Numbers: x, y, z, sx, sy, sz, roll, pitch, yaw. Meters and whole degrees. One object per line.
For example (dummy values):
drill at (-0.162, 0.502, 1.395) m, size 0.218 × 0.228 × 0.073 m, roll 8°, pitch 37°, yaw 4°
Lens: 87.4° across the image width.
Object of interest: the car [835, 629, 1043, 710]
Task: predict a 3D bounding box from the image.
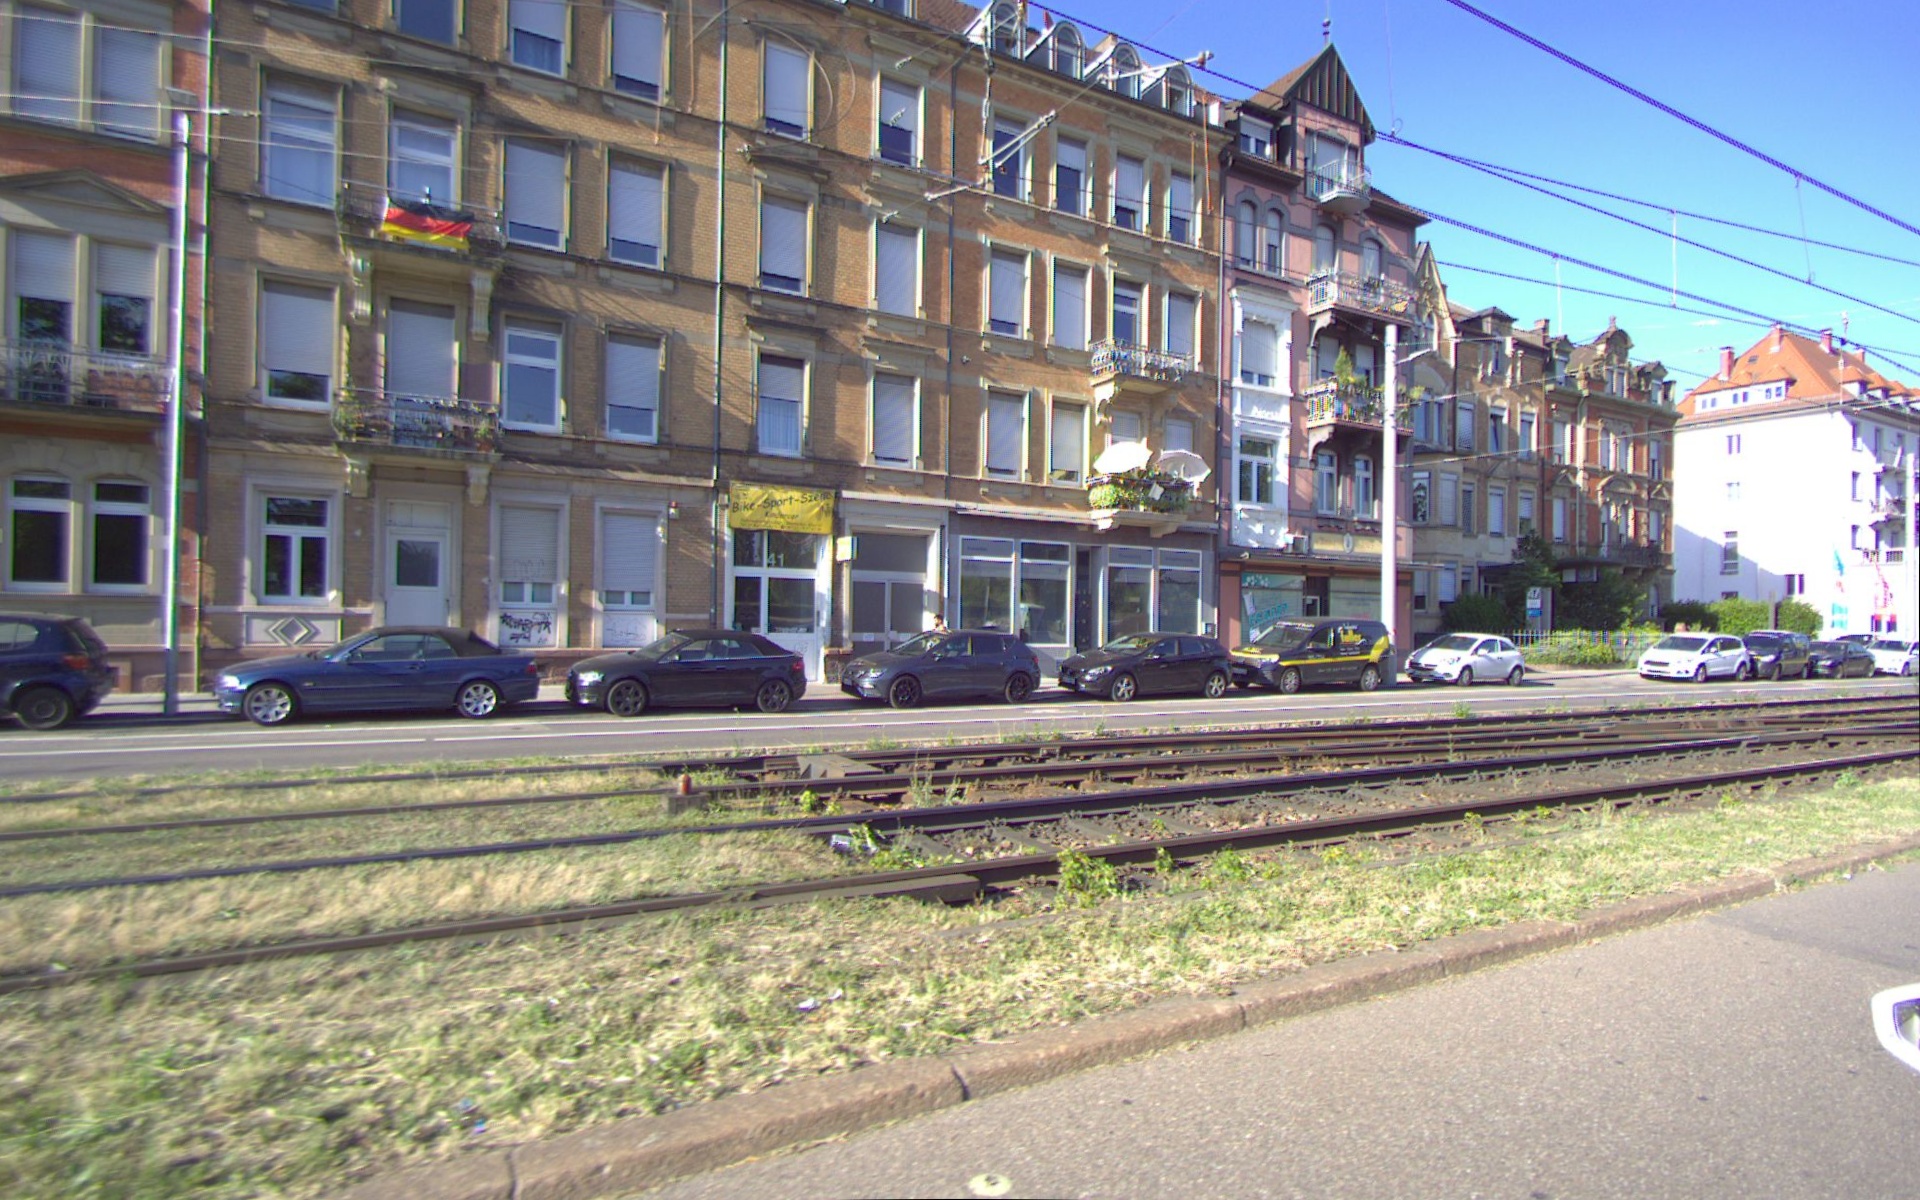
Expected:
car at (-0.409, 1.360, 20.489) m, size 3.933 × 1.465 × 1.652 m, roll 1°, pitch 0°, yaw -29°

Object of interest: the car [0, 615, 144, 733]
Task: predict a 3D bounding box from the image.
car at (-13.376, 0.948, 13.294) m, size 3.720 × 1.465 × 1.652 m, roll 1°, pitch 0°, yaw -29°

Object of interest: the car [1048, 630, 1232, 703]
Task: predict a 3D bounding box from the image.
car at (4.097, 1.449, 22.722) m, size 3.933 × 1.465 × 1.652 m, roll 1°, pitch 0°, yaw -29°

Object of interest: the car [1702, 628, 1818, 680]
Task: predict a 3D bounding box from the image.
car at (30.393, 2.028, 38.141) m, size 4.444 × 1.804 × 1.912 m, roll 1°, pitch 0°, yaw -29°

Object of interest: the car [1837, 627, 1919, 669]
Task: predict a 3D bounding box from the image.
car at (40.619, 2.071, 43.806) m, size 4.780 × 1.717 × 1.913 m, roll 1°, pitch 0°, yaw -27°

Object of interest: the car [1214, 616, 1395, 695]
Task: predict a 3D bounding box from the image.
car at (8.842, 1.371, 25.671) m, size 4.671 × 1.831 × 1.652 m, roll 1°, pitch 0°, yaw -29°

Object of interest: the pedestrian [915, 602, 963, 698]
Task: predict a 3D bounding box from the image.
pedestrian at (-0.452, 1.074, 22.093) m, size 0.625 × 2.040 × 0.876 m, roll 2°, pitch 0°, yaw 31°

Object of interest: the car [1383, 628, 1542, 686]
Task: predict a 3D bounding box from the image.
car at (14.929, 1.652, 29.791) m, size 4.568 × 1.559 × 1.913 m, roll 1°, pitch -1°, yaw -28°

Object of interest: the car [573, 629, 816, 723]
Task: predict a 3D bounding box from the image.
car at (-4.745, 1.302, 18.037) m, size 3.933 × 1.465 × 1.652 m, roll 1°, pitch 0°, yaw -29°

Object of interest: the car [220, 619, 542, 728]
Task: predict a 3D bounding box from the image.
car at (-8.896, 1.084, 15.760) m, size 4.146 × 1.465 × 1.652 m, roll 1°, pitch 0°, yaw -29°

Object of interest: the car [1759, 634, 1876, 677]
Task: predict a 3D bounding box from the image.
car at (34.664, 2.197, 40.586) m, size 4.780 × 1.581 × 1.913 m, roll 1°, pitch 0°, yaw -27°

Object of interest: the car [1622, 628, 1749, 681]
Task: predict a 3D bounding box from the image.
car at (25.859, 1.891, 35.767) m, size 4.571 × 1.706 × 1.912 m, roll 1°, pitch 0°, yaw -29°
